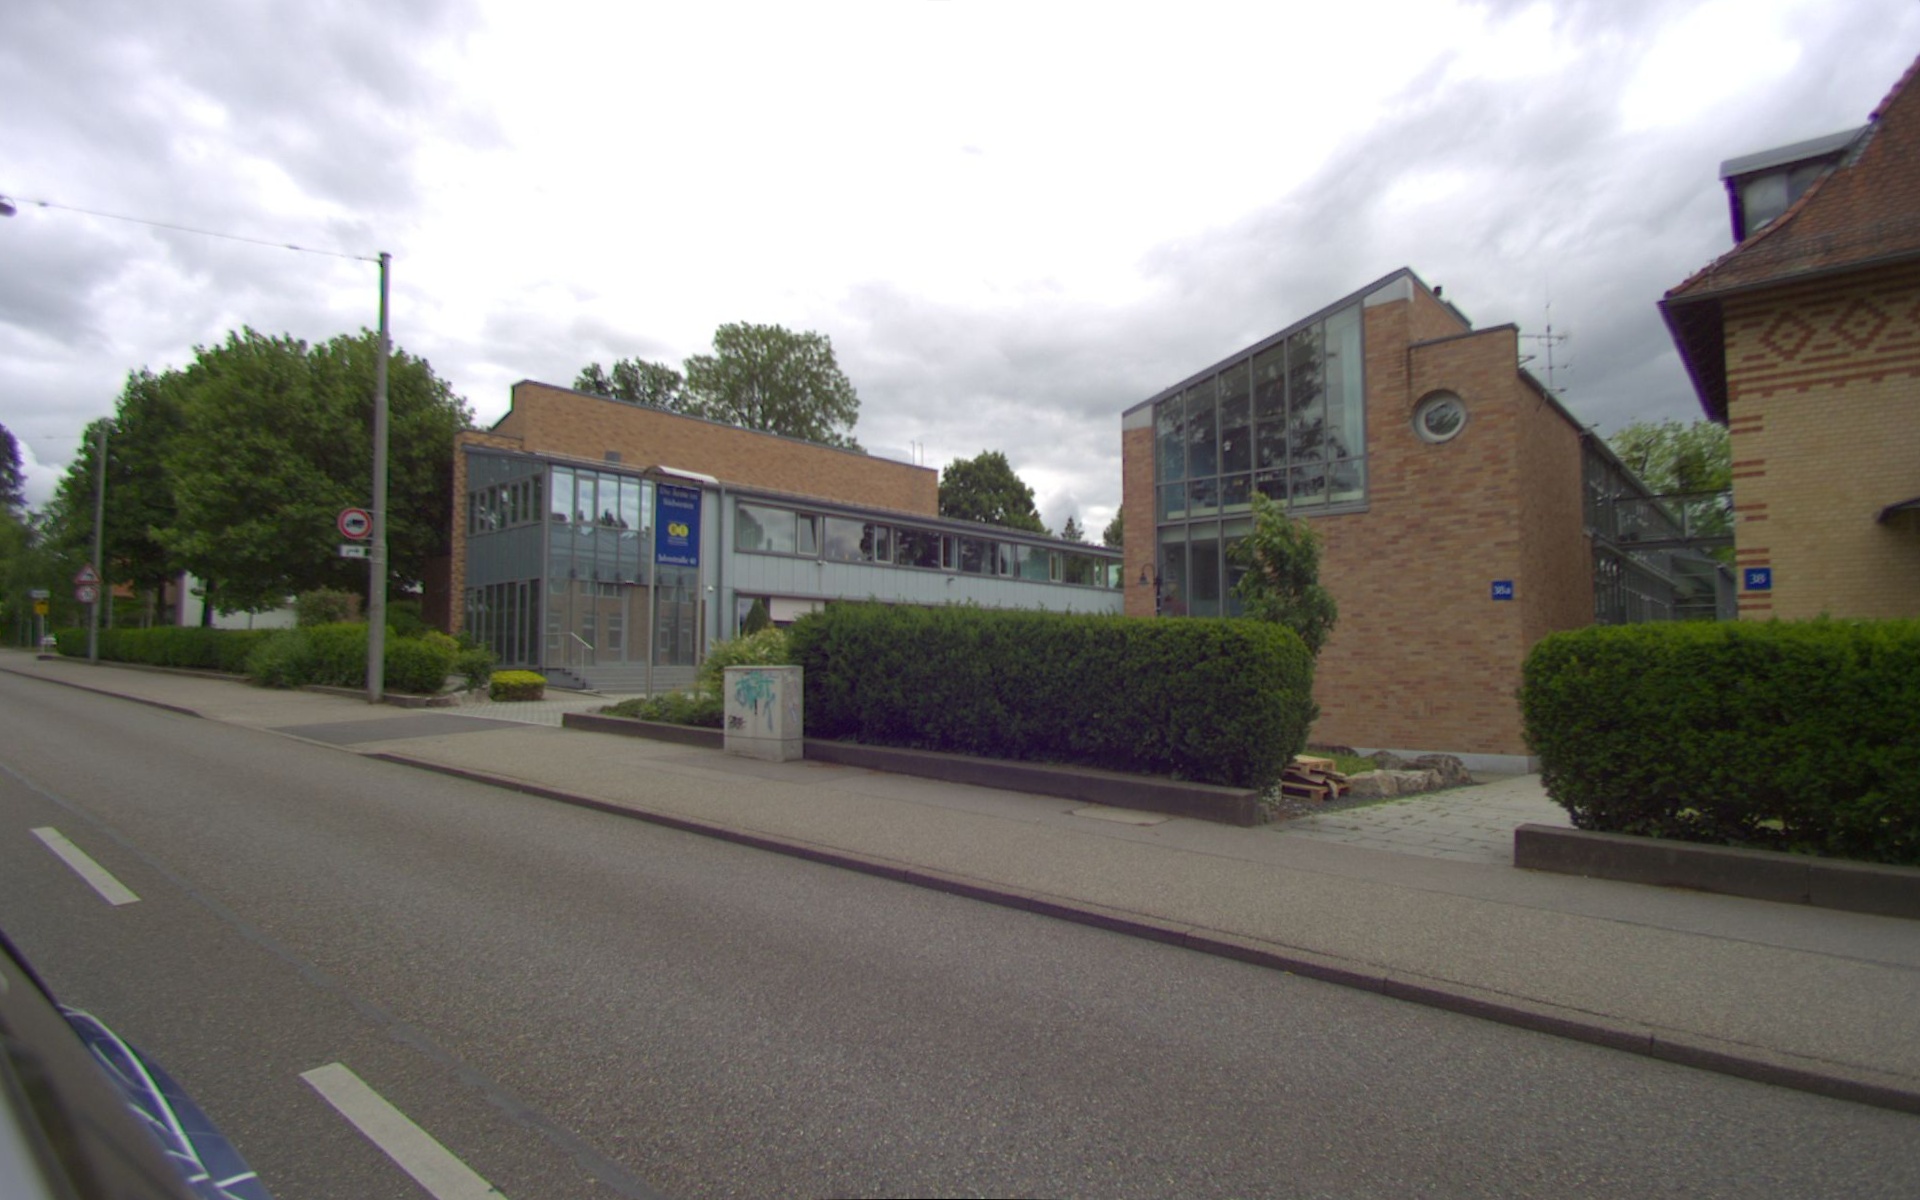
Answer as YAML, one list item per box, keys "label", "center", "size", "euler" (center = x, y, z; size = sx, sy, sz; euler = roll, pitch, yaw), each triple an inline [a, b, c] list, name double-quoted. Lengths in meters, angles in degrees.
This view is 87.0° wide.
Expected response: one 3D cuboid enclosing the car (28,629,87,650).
- label: "car"
  center: [-77.850, 3.425, 87.366]
  size: [1.967, 1.625, 4.009]
  euler: [2, -4, -11]
